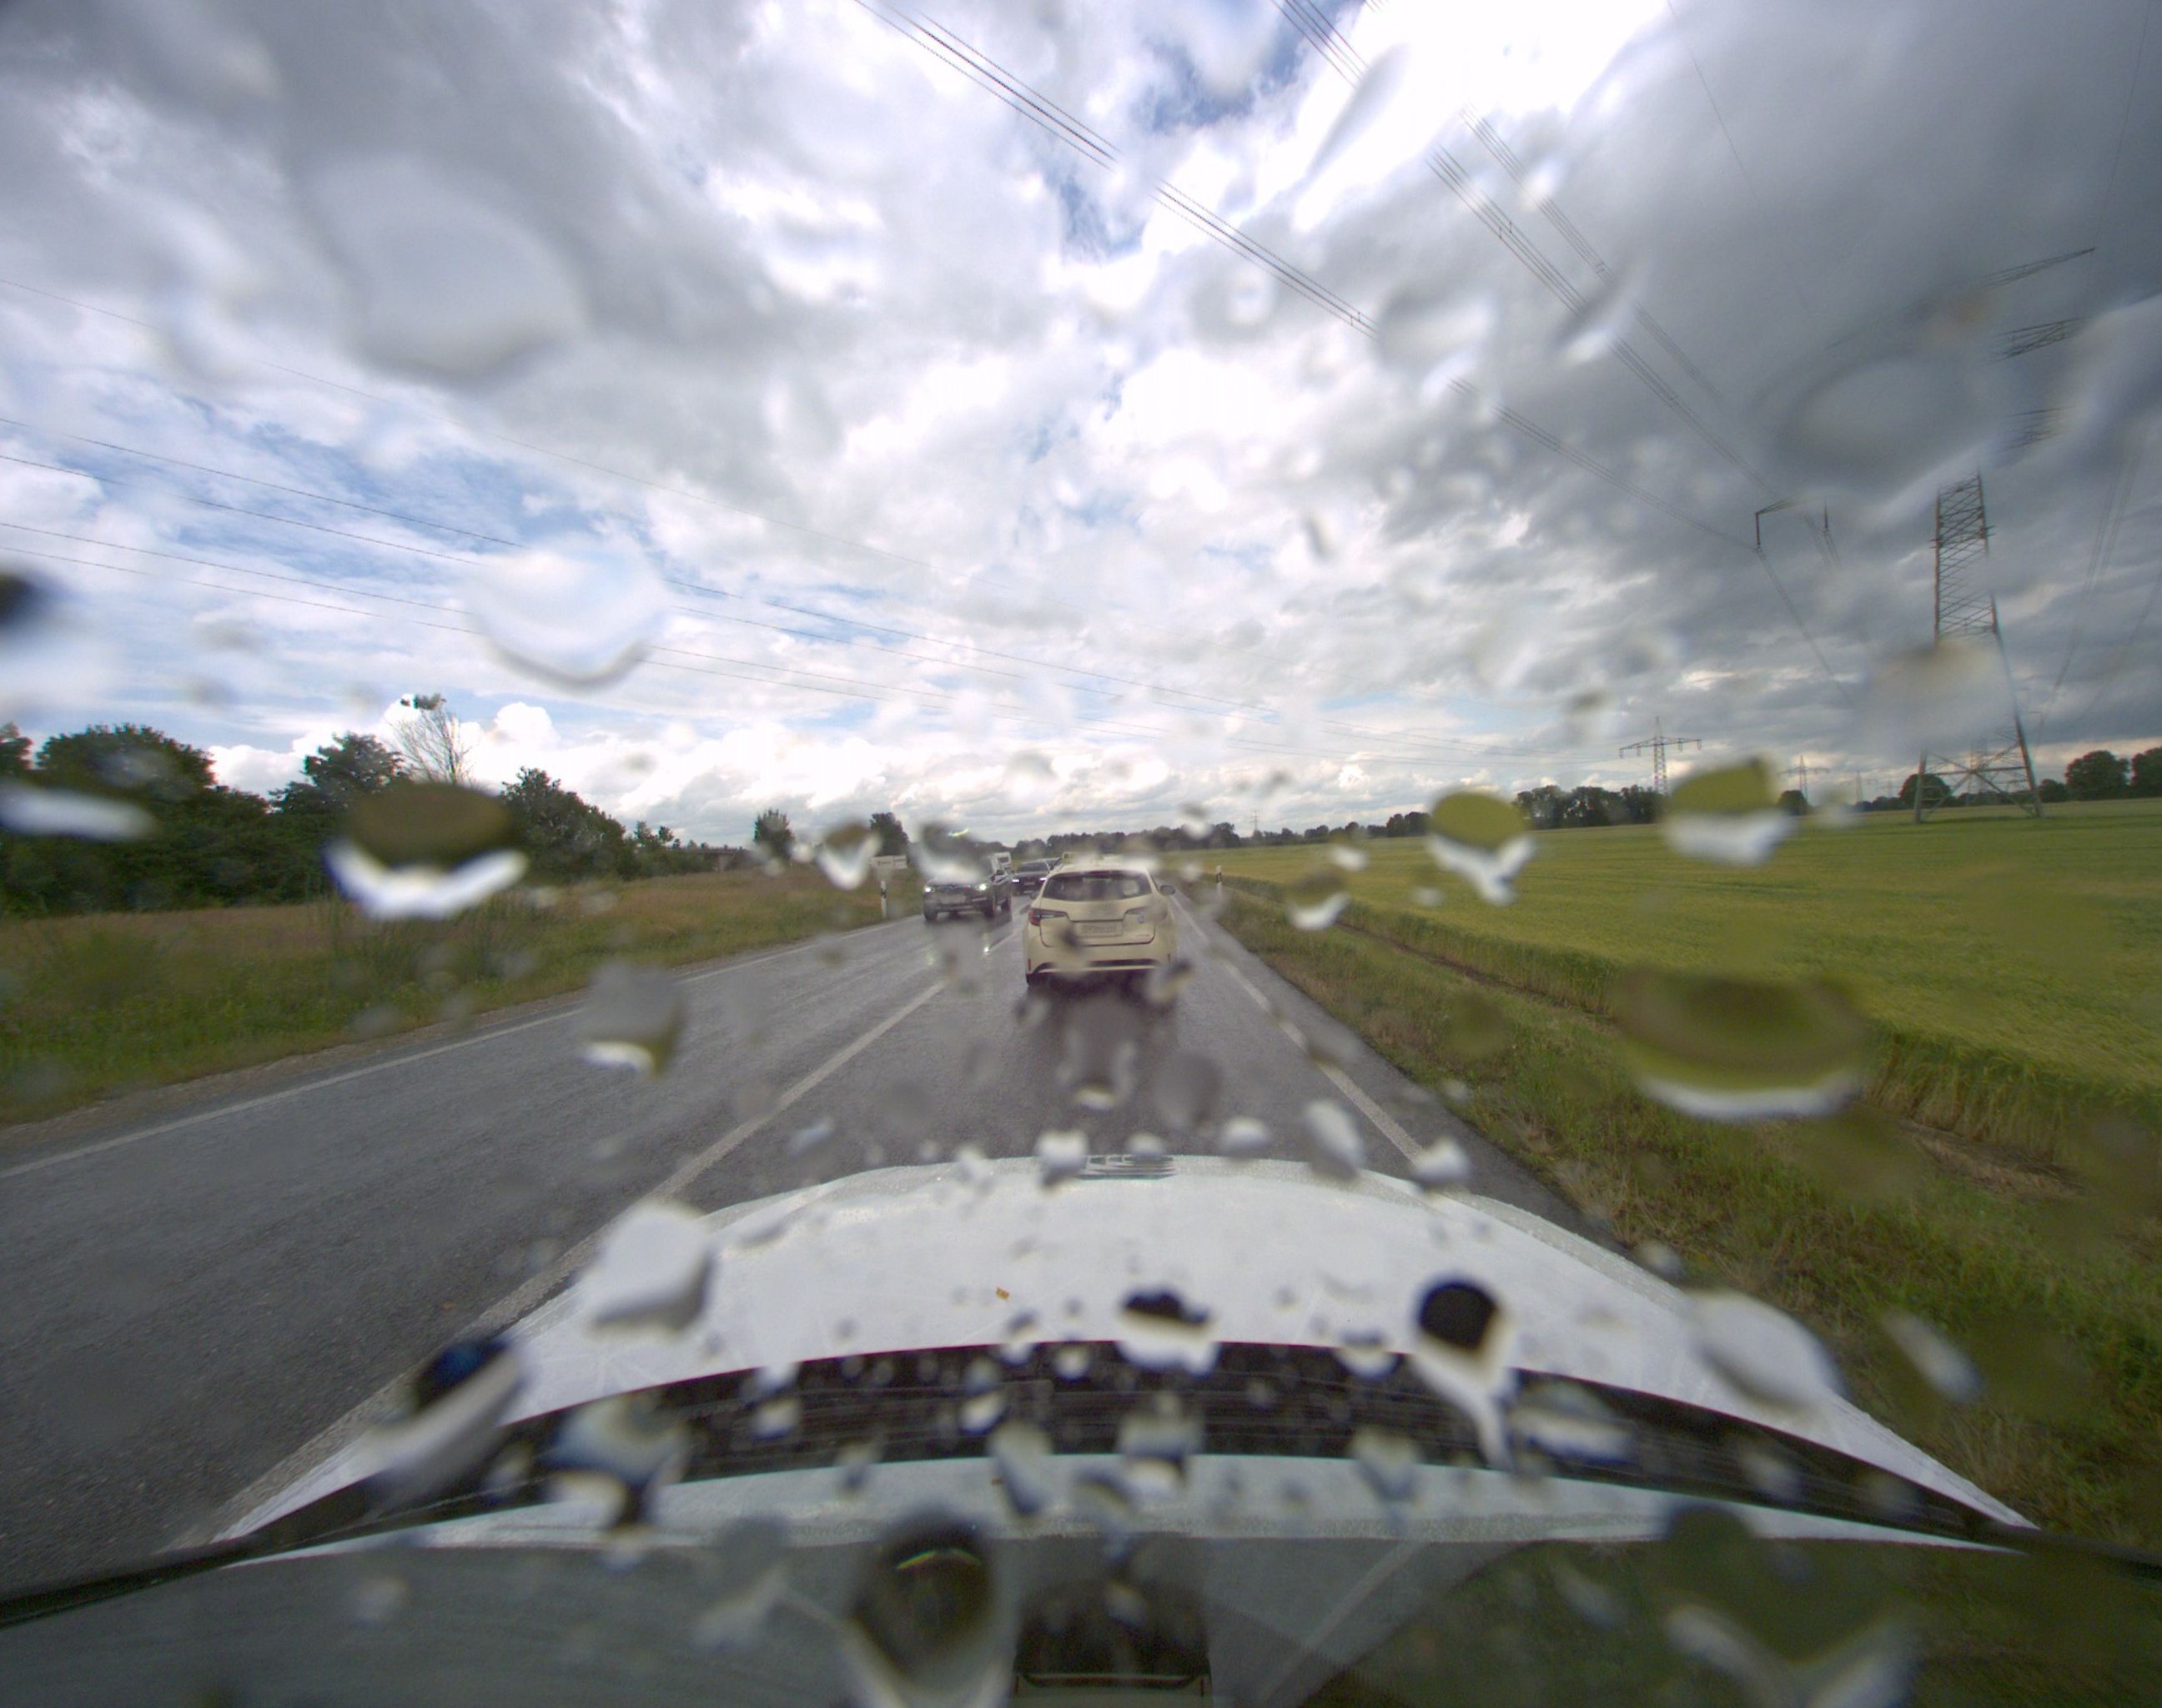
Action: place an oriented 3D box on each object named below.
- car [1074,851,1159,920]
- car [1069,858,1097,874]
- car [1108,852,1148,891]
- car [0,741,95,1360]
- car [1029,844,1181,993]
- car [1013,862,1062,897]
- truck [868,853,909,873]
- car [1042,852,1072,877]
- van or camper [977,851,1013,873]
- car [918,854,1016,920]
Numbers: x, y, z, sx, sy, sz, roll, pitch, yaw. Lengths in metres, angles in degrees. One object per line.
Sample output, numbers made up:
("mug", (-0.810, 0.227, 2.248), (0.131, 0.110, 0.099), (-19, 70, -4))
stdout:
("car", (0.844, 0.713, 20.018), (1.834, 1.492, 4.609), (0, -1, 2))
("car", (0.129, 1.171, 76.677), (1.959, 1.413, 4.378), (0, -2, -9))
("car", (2.151, 0.799, 36.651), (1.604, 1.659, 3.744), (0, -2, 6))
("car", (-4.251, 0.600, 0.472), (1.837, 1.855, 4.450), (0, 0, 2))
("car", (0.385, 0.727, 10.469), (1.605, 1.562, 3.742), (0, -2, 4))
("car", (-1.950, 1.141, 37.657), (1.841, 1.448, 4.093), (-2, -1, 2))
("truck", (-32.501, 1.553, 137.528), (3.040, 3.210, 8.131), (2, -2, -44))
("car", (-1.722, 0.711, 56.191), (1.905, 1.609, 4.085), (-2, -1, -3))
("van or camper", (-11.561, 1.055, 108.682), (2.551, 2.896, 6.681), (0, -1, -28))
("car", (-3.080, 0.844, 23.018), (1.841, 1.631, 4.538), (-2, 0, 3))
